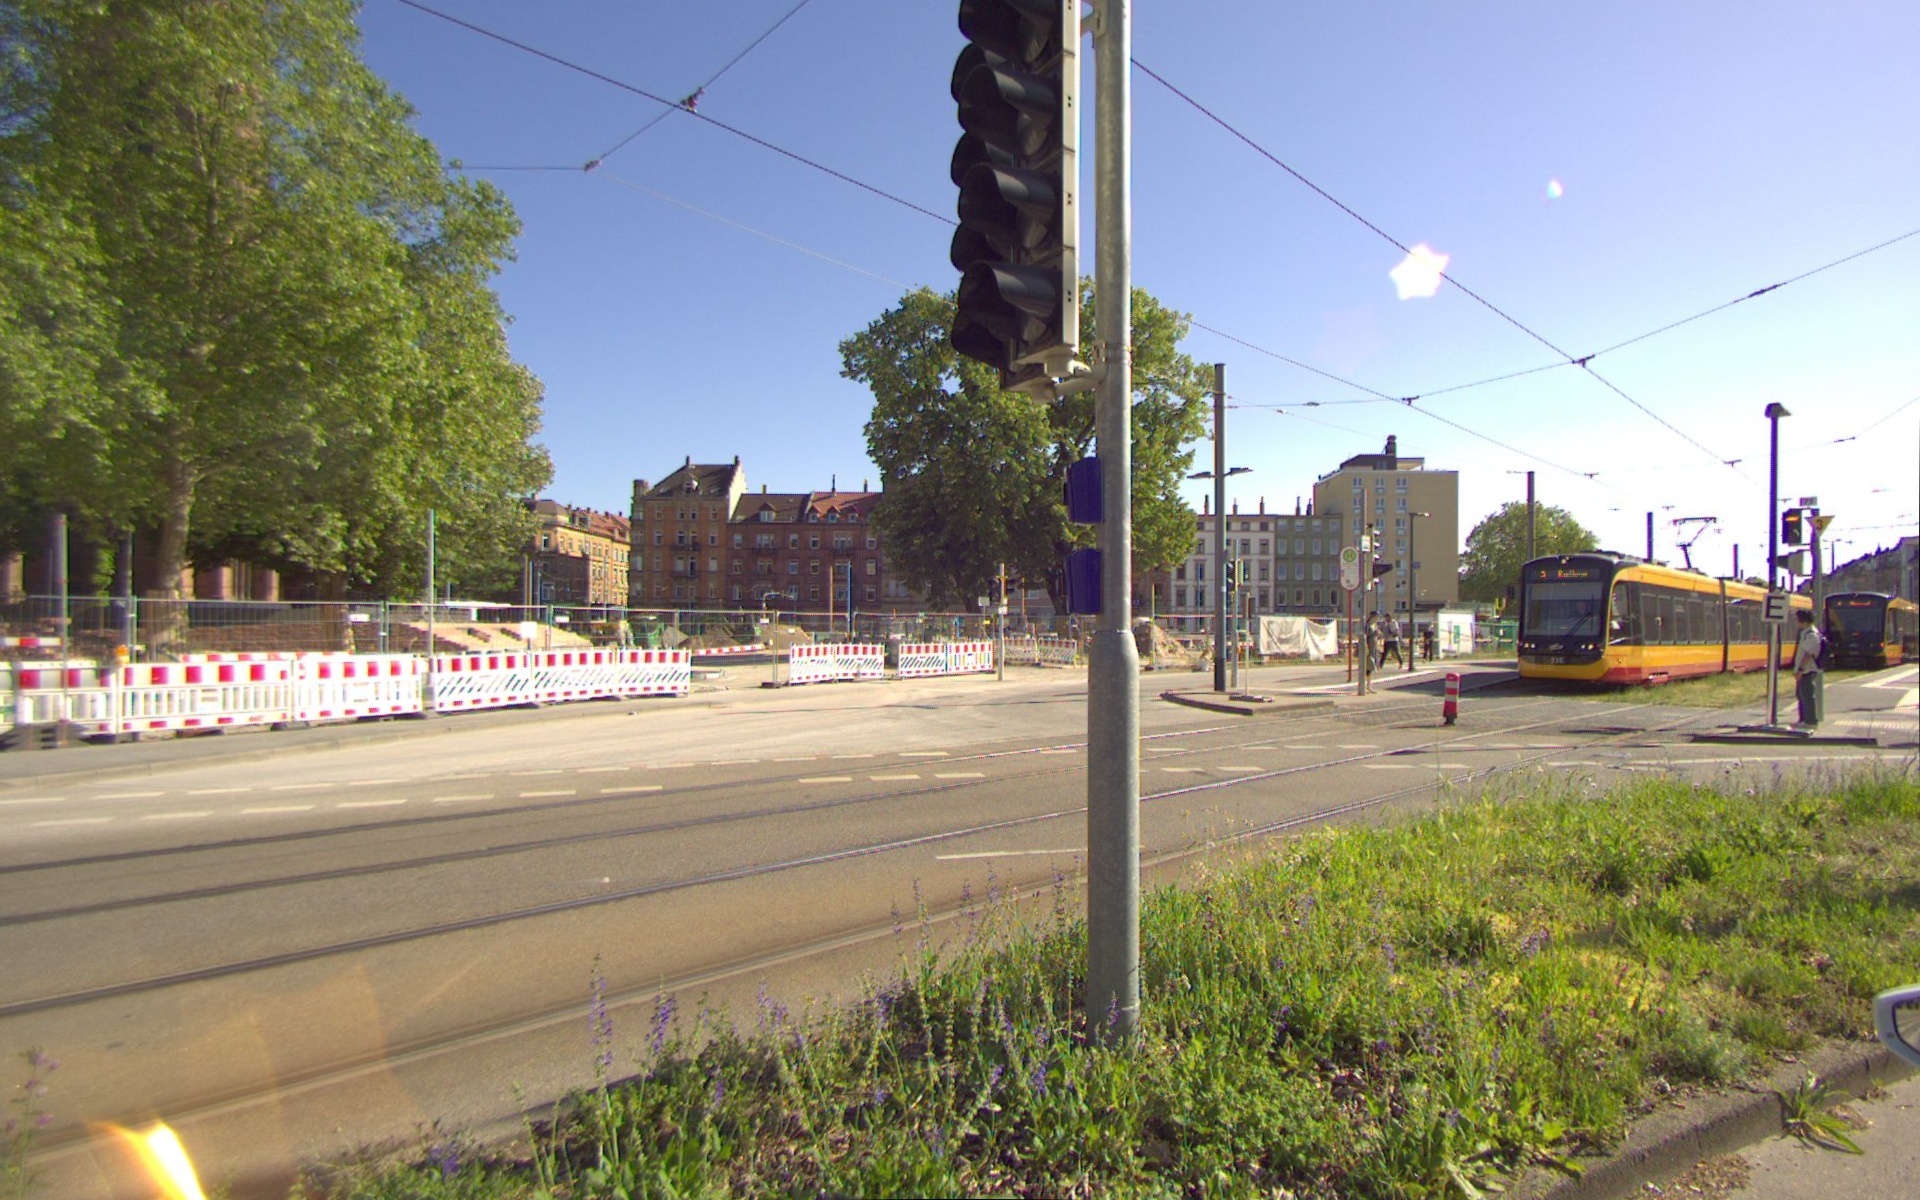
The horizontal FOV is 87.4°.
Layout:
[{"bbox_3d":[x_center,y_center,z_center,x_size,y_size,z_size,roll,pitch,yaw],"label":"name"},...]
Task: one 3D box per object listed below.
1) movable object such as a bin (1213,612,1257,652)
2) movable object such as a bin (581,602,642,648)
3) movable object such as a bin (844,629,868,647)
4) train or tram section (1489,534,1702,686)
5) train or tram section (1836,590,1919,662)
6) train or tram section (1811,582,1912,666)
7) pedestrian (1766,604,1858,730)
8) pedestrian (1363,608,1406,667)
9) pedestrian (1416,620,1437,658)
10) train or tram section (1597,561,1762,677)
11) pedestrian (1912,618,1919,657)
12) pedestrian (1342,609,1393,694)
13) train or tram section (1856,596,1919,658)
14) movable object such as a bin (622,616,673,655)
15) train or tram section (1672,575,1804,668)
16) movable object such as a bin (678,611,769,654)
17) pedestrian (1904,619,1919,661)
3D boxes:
[{"bbox_3d":[20.683,2.377,75.688,1.798,2.833,3.997,2,-1,-5],"label":"movable object such as a bin"},{"bbox_3d":[-26.253,1.884,75.944,3.060,3.215,5.244,2,-1,-5],"label":"movable object such as a bin"},{"bbox_3d":[-9.998,3.671,96.846,1.716,1.702,3.802,0,-1,2],"label":"movable object such as a bin"},{"bbox_3d":[18.079,0.390,28.140,10.411,3.554,2.789,2,-2,-45],"label":"train or tram section"},{"bbox_3d":[49.813,1.428,54.314,10.472,3.554,2.843,2,-1,-44],"label":"train or tram section"},{"bbox_3d":[42.358,1.149,47.029,10.472,3.554,2.843,2,-1,-44],"label":"train or tram section"},{"bbox_3d":[13.188,1.020,15.581,1.003,1.856,0.758,1,-1,36],"label":"pedestrian"},{"bbox_3d":[13.263,1.167,31.419,0.954,1.791,0.865,0,-1,-1],"label":"pedestrian"},{"bbox_3d":[22.245,1.848,47.876,0.795,1.791,0.661,2,-2,-45],"label":"pedestrian"},{"bbox_3d":[25.572,0.691,35.398,10.537,3.554,2.790,2,-1,-43],"label":"train or tram section"},{"bbox_3d":[47.926,1.889,50.012,0.732,1.943,0.738,1,-1,45],"label":"pedestrian"},{"bbox_3d":[9.388,1.164,23.134,0.888,1.875,0.760,-1,1,39],"label":"pedestrian"},{"bbox_3d":[57.329,1.645,61.595,10.472,3.554,2.843,2,-1,-44],"label":"train or tram section"},{"bbox_3d":[-20.042,2.270,64.546,1.857,2.377,4.230,2,-1,1],"label":"movable object such as a bin"},{"bbox_3d":[33.387,0.941,42.864,11.132,3.554,2.790,2,-1,-43],"label":"train or tram section"},{"bbox_3d":[-16.940,2.329,72.197,5.967,2.795,1.894,2,-1,-3],"label":"movable object such as a bin"},{"bbox_3d":[44.134,1.845,46.304,0.756,1.908,0.838,3,-1,-45],"label":"pedestrian"}]
